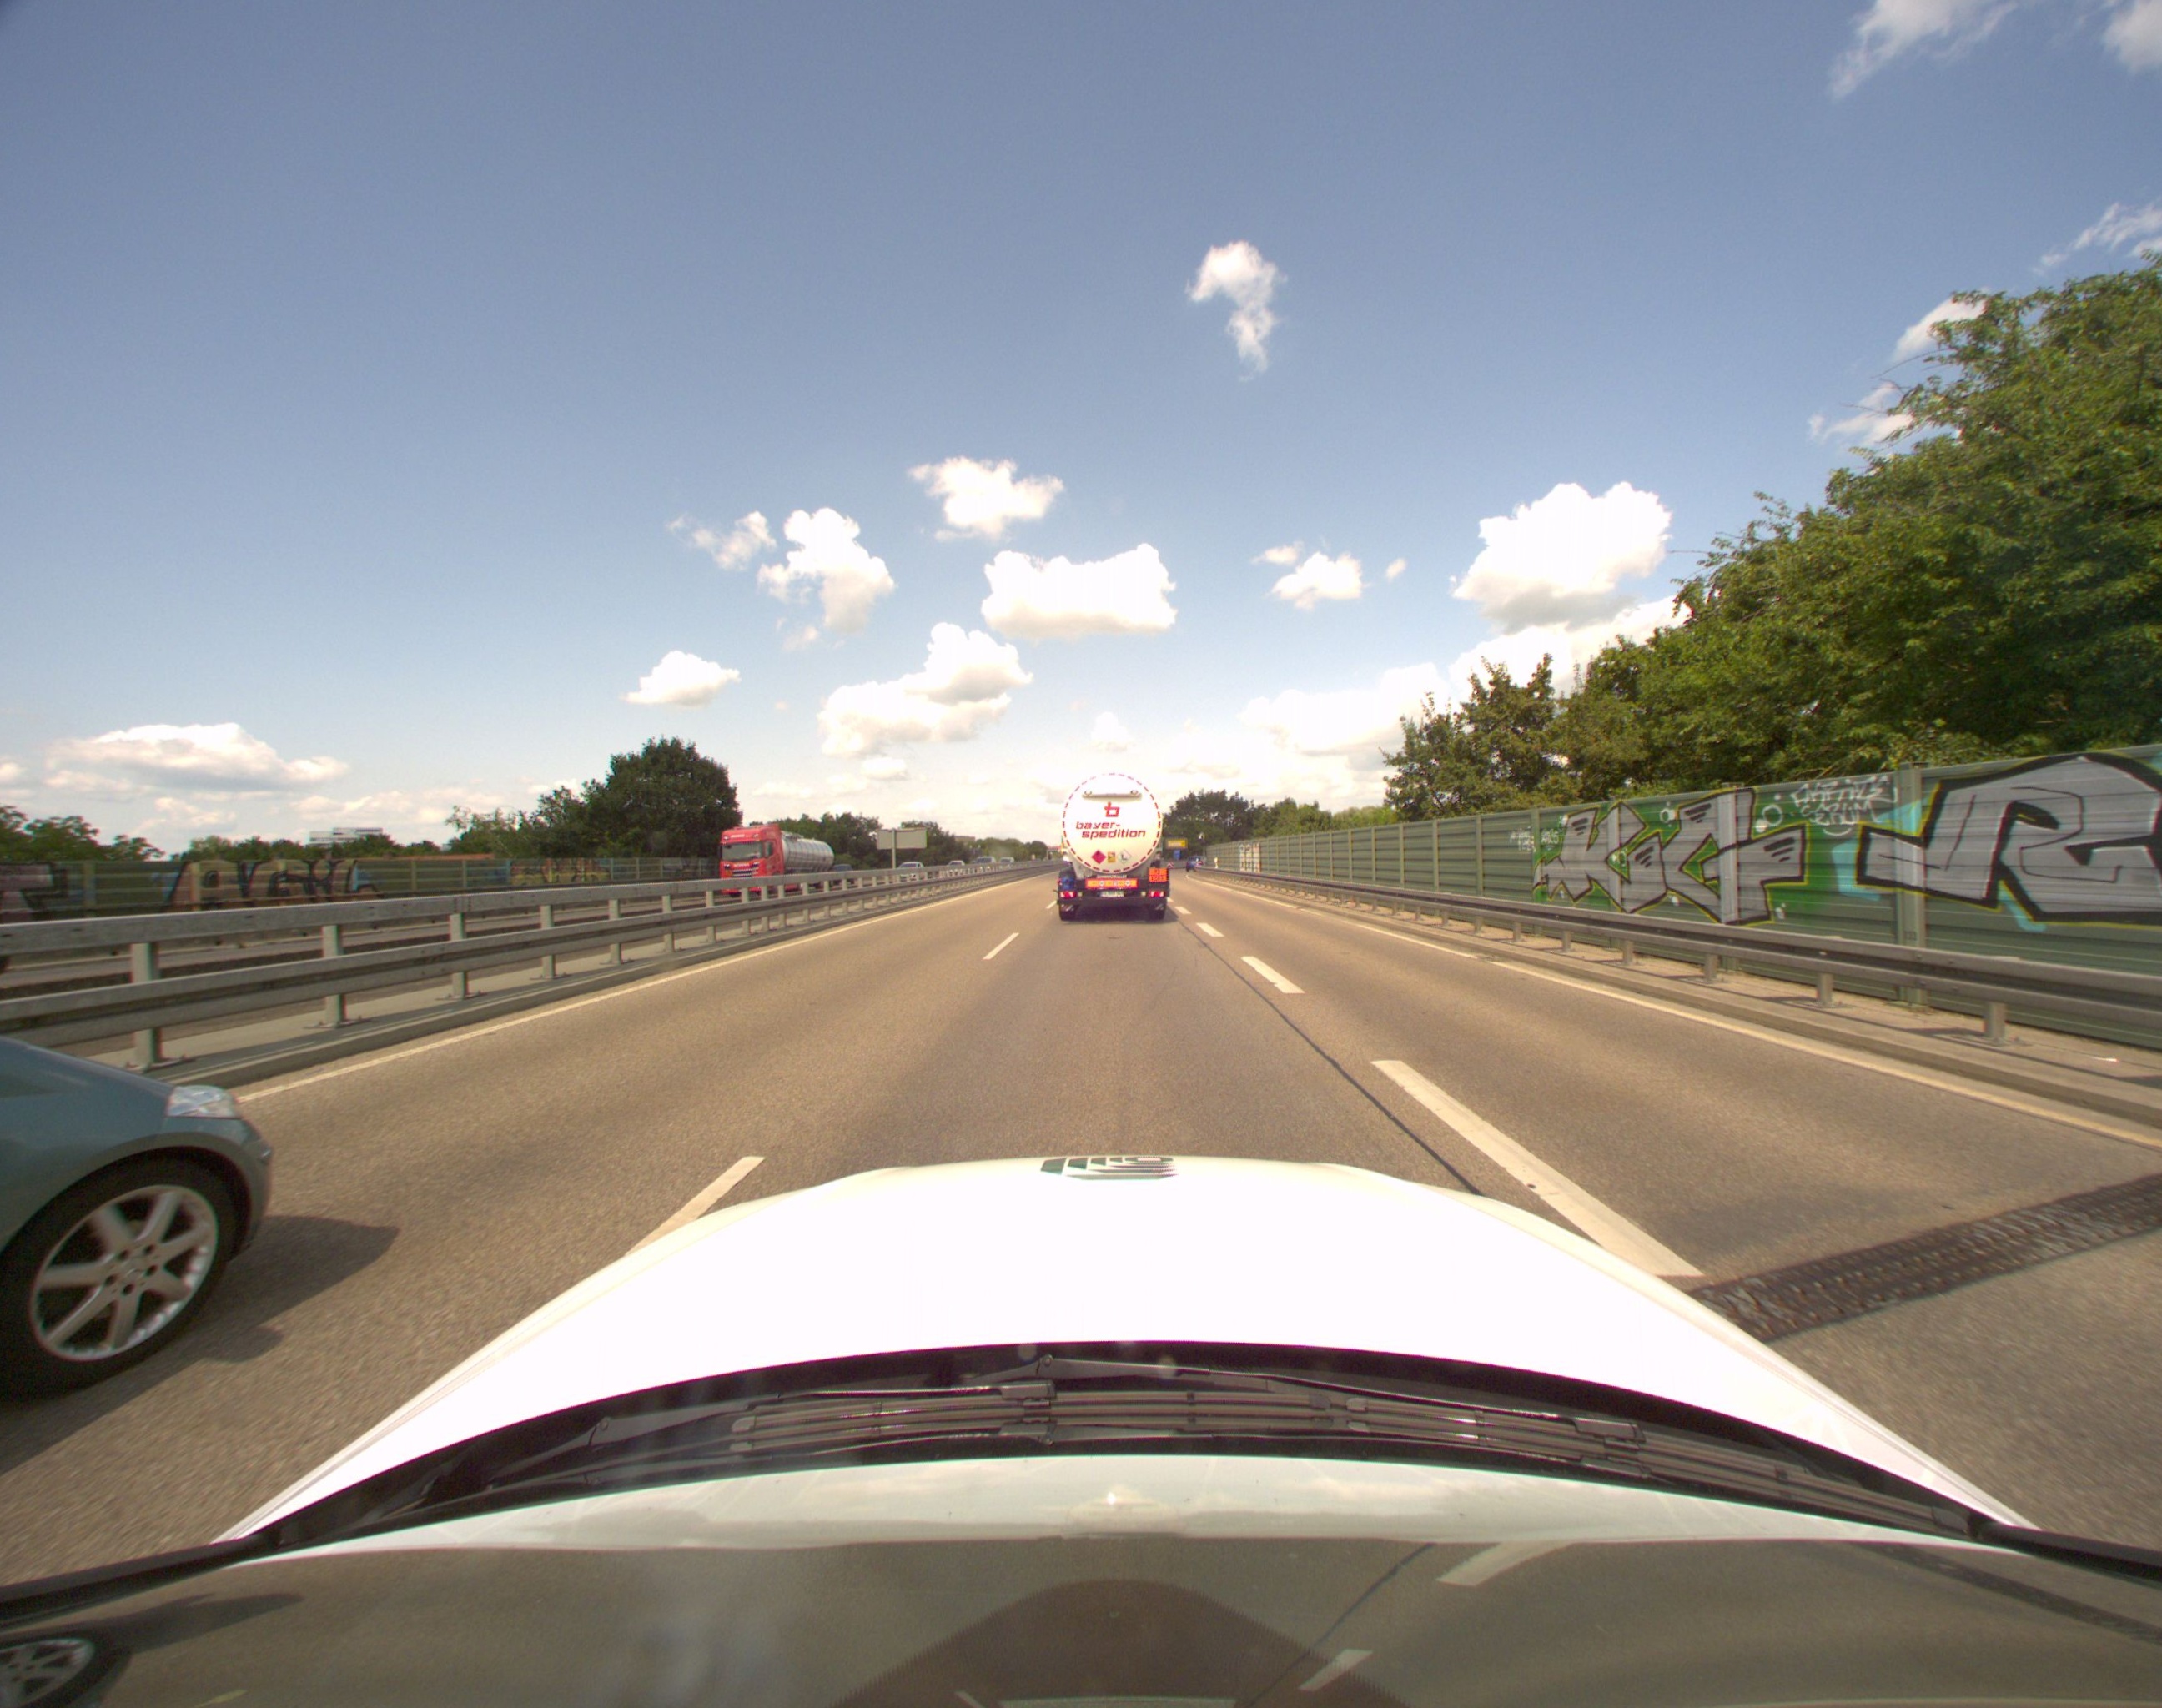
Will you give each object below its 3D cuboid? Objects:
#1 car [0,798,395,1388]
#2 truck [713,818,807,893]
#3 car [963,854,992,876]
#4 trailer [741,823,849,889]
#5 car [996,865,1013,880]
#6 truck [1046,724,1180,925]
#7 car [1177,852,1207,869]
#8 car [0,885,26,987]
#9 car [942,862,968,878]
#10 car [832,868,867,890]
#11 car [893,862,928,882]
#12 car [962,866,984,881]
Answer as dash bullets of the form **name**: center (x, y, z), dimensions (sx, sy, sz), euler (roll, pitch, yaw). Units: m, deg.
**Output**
- **car**: center (-3.705, 0.622, 1.299), dimensions (1.741, 1.531, 4.002), euler (0, 0, 2)
- **truck**: center (-17.467, 0.107, 44.804), dimensions (2.640, 3.782, 6.231), euler (1, -1, 0)
- **car**: center (-8.862, 0.940, 69.981), dimensions (1.988, 1.750, 4.593), euler (1, -1, -2)
- **trailer**: center (-17.399, 0.168, 50.624), dimensions (2.675, 3.670, 11.027), euler (1, -1, 0)
- **car**: center (-10.890, 2.646, 115.953), dimensions (1.954, 1.925, 5.190), euler (1, 0, 0)
- **truck**: center (0.818, -0.601, 21.819), dimensions (2.884, 4.369, 8.031), euler (1, -1, 2)
- **car**: center (11.433, 0.639, 83.668), dimensions (1.976, 1.706, 4.022), euler (0, -1, 24)
- **car**: center (-16.144, 1.136, 9.587), dimensions (1.683, 1.431, 4.401), euler (1, -1, -1)
- **car**: center (-12.852, 1.619, 83.402), dimensions (1.917, 1.574, 3.887), euler (1, -1, 1)
- **car**: center (-18.838, 2.014, 66.336), dimensions (1.710, 1.619, 4.278), euler (-2, -1, -2)
- **car**: center (-13.039, 1.375, 62.520), dimensions (1.776, 1.509, 3.961), euler (1, -1, 2)
- **car**: center (-12.191, 2.202, 92.145), dimensions (1.917, 1.574, 4.245), euler (-2, -1, 1)
